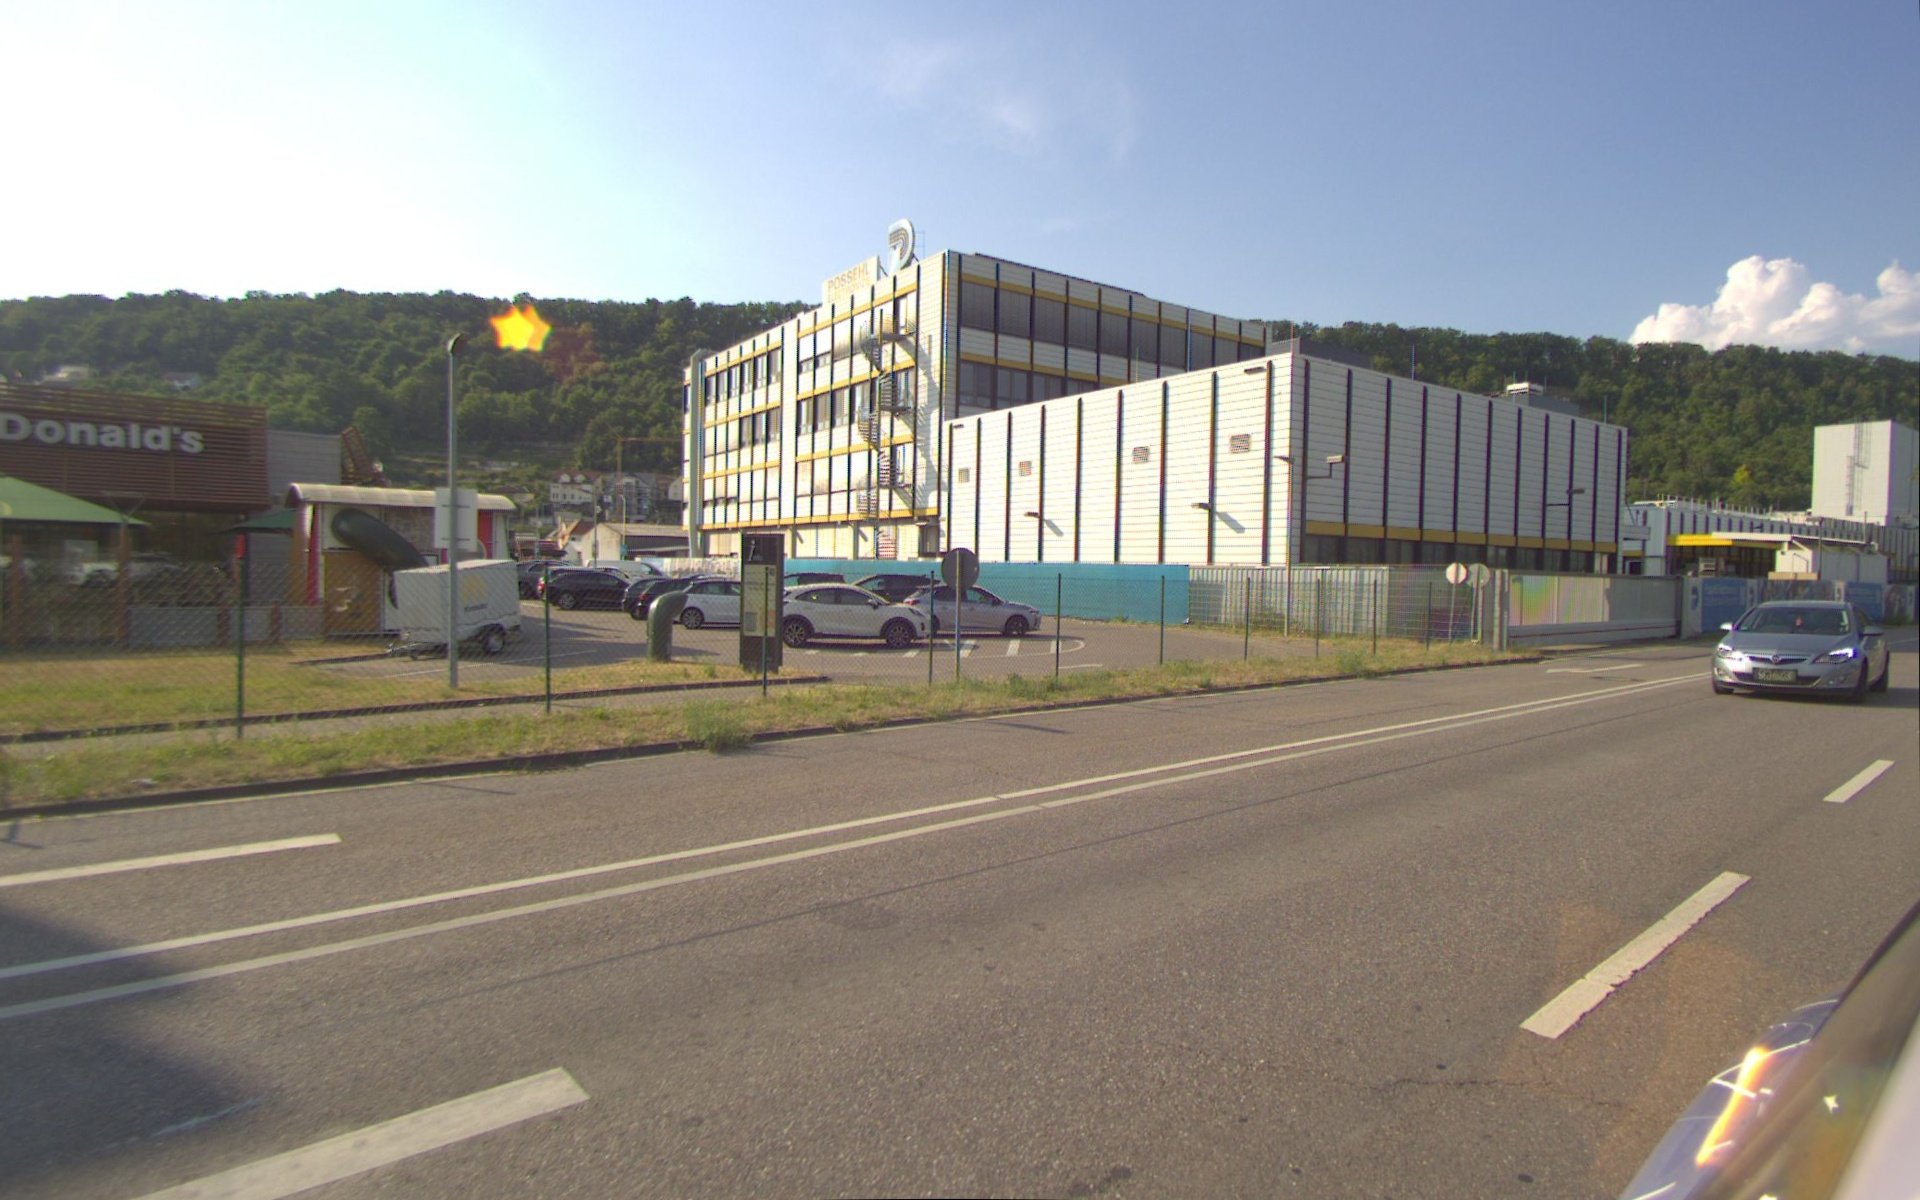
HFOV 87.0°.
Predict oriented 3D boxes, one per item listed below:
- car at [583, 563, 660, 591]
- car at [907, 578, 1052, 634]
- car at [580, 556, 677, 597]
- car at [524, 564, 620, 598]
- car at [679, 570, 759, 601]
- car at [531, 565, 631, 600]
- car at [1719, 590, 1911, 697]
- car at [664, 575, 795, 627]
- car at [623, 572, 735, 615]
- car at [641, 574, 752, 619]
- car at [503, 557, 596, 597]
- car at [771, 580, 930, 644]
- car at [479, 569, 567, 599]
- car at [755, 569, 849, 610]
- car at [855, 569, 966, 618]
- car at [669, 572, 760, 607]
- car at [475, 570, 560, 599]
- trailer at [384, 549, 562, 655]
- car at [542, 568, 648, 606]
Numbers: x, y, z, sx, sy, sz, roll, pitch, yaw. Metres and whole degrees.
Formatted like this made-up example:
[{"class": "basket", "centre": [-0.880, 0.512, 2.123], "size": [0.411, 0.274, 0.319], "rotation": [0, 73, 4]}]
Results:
[{"class": "car", "centre": [-17.941, -1.227, 53.769], "size": [3.595, 1.433, 1.799], "rotation": [0, 0, -9]}, {"class": "car", "centre": [0.498, 0.148, 28.545], "size": [3.827, 1.524, 1.880], "rotation": [0, 0, -7]}, {"class": "car", "centre": [-18.602, -1.299, 56.805], "size": [5.059, 2.259, 2.015], "rotation": [0, 0, -23]}, {"class": "car", "centre": [-16.749, -0.816, 43.810], "size": [3.595, 1.433, 1.799], "rotation": [0, 0, -9]}, {"class": "car", "centre": [-10.638, -0.625, 44.830], "size": [3.312, 1.343, 1.564], "rotation": [0, 0, -9]}, {"class": "car", "centre": [-15.625, -0.723, 41.851], "size": [3.595, 1.433, 1.799], "rotation": [0, 0, -9]}, {"class": "car", "centre": [13.280, 0.574, 15.659], "size": [3.816, 1.408, 1.690], "rotation": [-1, 2, -41]}, {"class": "car", "centre": [-6.790, 0.006, 30.169], "size": [3.698, 1.473, 1.701], "rotation": [0, 0, -9]}, {"class": "car", "centre": [-9.696, -0.247, 35.159], "size": [3.595, 1.433, 1.799], "rotation": [0, 0, -9]}, {"class": "car", "centre": [-8.413, -0.123, 32.498], "size": [3.312, 1.405, 1.459], "rotation": [0, 0, -9]}, {"class": "car", "centre": [-18.796, -1.056, 46.483], "size": [3.684, 1.800, 1.822], "rotation": [0, 0, -9]}, {"class": "car", "centre": [-2.740, 0.279, 25.491], "size": [3.828, 1.524, 1.879], "rotation": [0, 0, -5]}, {"class": "car", "centre": [-20.995, -0.760, 48.751], "size": [3.595, 1.433, 1.799], "rotation": [0, 0, -9]}, {"class": "car", "centre": [-5.895, -0.393, 37.786], "size": [3.358, 1.473, 1.701], "rotation": [0, 0, -9]}, {"class": "car", "centre": [-1.644, -0.213, 33.319], "size": [3.356, 1.549, 1.701], "rotation": [0, 0, -15]}, {"class": "car", "centre": [-10.297, -0.454, 42.591], "size": [3.595, 1.433, 1.799], "rotation": [0, 0, -9]}, {"class": "car", "centre": [-22.278, -0.776, 51.103], "size": [3.595, 1.433, 1.799], "rotation": [0, 0, -9]}, {"class": "trailer", "centre": [-10.079, 0.016, 21.193], "size": [1.330, 1.972, 3.462], "rotation": [3, 1, 17]}, {"class": "car", "centre": [-14.062, -0.504, 39.190], "size": [3.595, 1.433, 1.799], "rotation": [0, 0, -9]}]
